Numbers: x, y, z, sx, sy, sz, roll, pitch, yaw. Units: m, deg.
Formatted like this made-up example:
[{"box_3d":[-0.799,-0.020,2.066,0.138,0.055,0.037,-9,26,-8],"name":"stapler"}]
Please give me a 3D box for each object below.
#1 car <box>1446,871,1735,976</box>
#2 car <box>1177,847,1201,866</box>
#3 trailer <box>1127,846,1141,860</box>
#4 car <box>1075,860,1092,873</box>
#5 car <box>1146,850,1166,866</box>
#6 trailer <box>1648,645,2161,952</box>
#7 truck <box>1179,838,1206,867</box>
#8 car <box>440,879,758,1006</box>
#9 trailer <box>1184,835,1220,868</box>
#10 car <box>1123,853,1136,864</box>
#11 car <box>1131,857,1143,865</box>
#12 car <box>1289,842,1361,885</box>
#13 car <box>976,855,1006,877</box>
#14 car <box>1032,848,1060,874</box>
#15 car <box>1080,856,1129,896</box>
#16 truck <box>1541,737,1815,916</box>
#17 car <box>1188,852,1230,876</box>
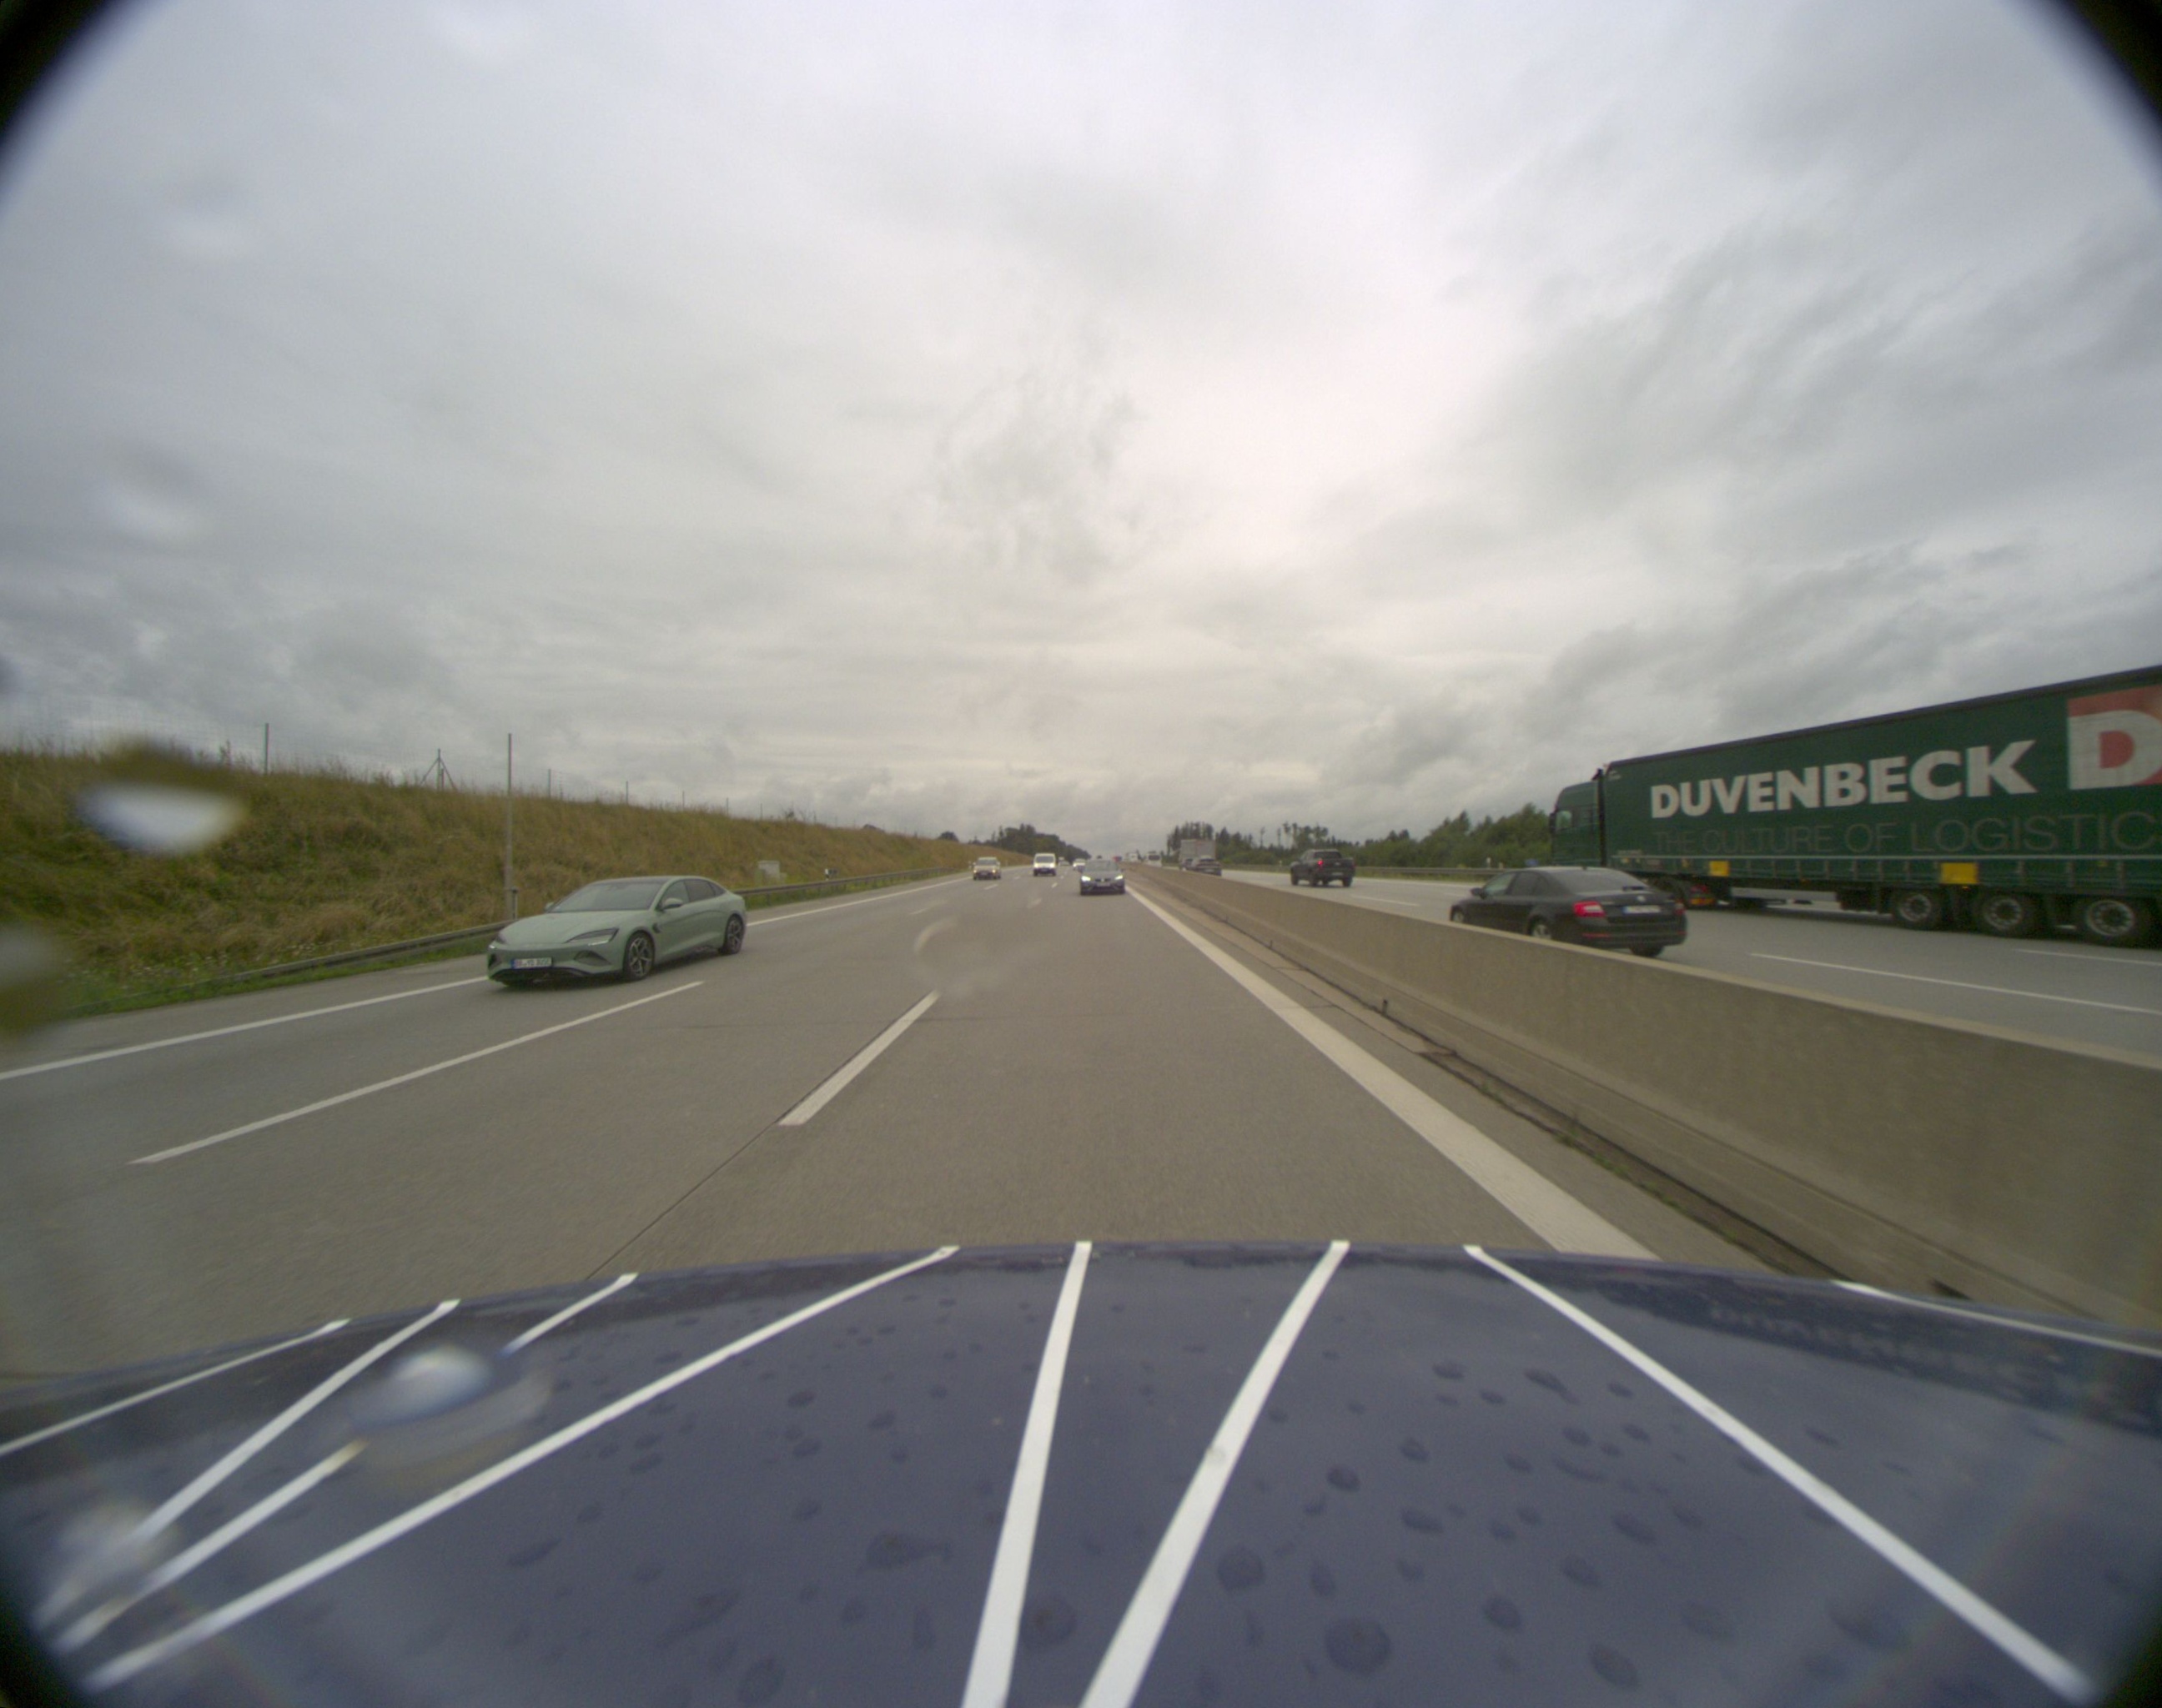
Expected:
[{"box_3d":[7.909,0.983,12.408,1.776,1.349,4.366,1,-1,0],"name":"car"},{"box_3d":[12.291,0.338,86.636,1.919,2.001,5.924,1,-1,0],"name":"car"},{"box_3d":[15.843,-0.291,228.046,2.895,3.979,13.014,1,-1,-1],"name":"trailer"},{"box_3d":[0.383,1.631,99.793,1.998,1.632,5.044,1,-1,3],"name":"car"},{"box_3d":[9.229,0.522,94.285,1.919,2.001,5.924,1,-1,0],"name":"car"},{"box_3d":[16.368,-0.762,13.852,2.772,4.256,12.169,-2,-1,0],"name":"trailer"},{"box_3d":[16.481,-0.140,112.595,2.939,4.155,5.857,1,-1,-1],"name":"truck"},{"box_3d":[-7.162,1.206,12.080,2.019,1.437,4.745,-3,-1,-1],"name":"car"},{"box_3d":[16.514,-0.263,104.535,2.926,4.192,11.873,1,-1,0],"name":"trailer"},{"box_3d":[8.837,0.789,138.453,2.039,1.856,4.603,1,0,0],"name":"car"},{"box_3d":[11.604,1.376,157.221,2.040,1.657,5.268,1,0,-2],"name":"car"},{"box_3d":[12.178,0.483,38.318,1.998,1.962,5.331,1,-1,1],"name":"car"},{"box_3d":[-6.739,0.887,57.272,1.790,1.595,4.571,1,-1,0],"name":"car"},{"box_3d":[-2.983,0.612,66.155,2.043,2.111,6.069,1,-1,0],"name":"car"},{"box_3d":[1.031,0.847,31.291,1.789,1.472,4.572,-2,0,4],"name":"car"},{"box_3d":[16.344,-0.625,21.507,2.796,4.237,6.050,-3,-1,0],"name":"truck"},{"box_3d":[8.566,0.691,51.090,1.999,1.510,4.397,1,-1,-1],"name":"car"}]
